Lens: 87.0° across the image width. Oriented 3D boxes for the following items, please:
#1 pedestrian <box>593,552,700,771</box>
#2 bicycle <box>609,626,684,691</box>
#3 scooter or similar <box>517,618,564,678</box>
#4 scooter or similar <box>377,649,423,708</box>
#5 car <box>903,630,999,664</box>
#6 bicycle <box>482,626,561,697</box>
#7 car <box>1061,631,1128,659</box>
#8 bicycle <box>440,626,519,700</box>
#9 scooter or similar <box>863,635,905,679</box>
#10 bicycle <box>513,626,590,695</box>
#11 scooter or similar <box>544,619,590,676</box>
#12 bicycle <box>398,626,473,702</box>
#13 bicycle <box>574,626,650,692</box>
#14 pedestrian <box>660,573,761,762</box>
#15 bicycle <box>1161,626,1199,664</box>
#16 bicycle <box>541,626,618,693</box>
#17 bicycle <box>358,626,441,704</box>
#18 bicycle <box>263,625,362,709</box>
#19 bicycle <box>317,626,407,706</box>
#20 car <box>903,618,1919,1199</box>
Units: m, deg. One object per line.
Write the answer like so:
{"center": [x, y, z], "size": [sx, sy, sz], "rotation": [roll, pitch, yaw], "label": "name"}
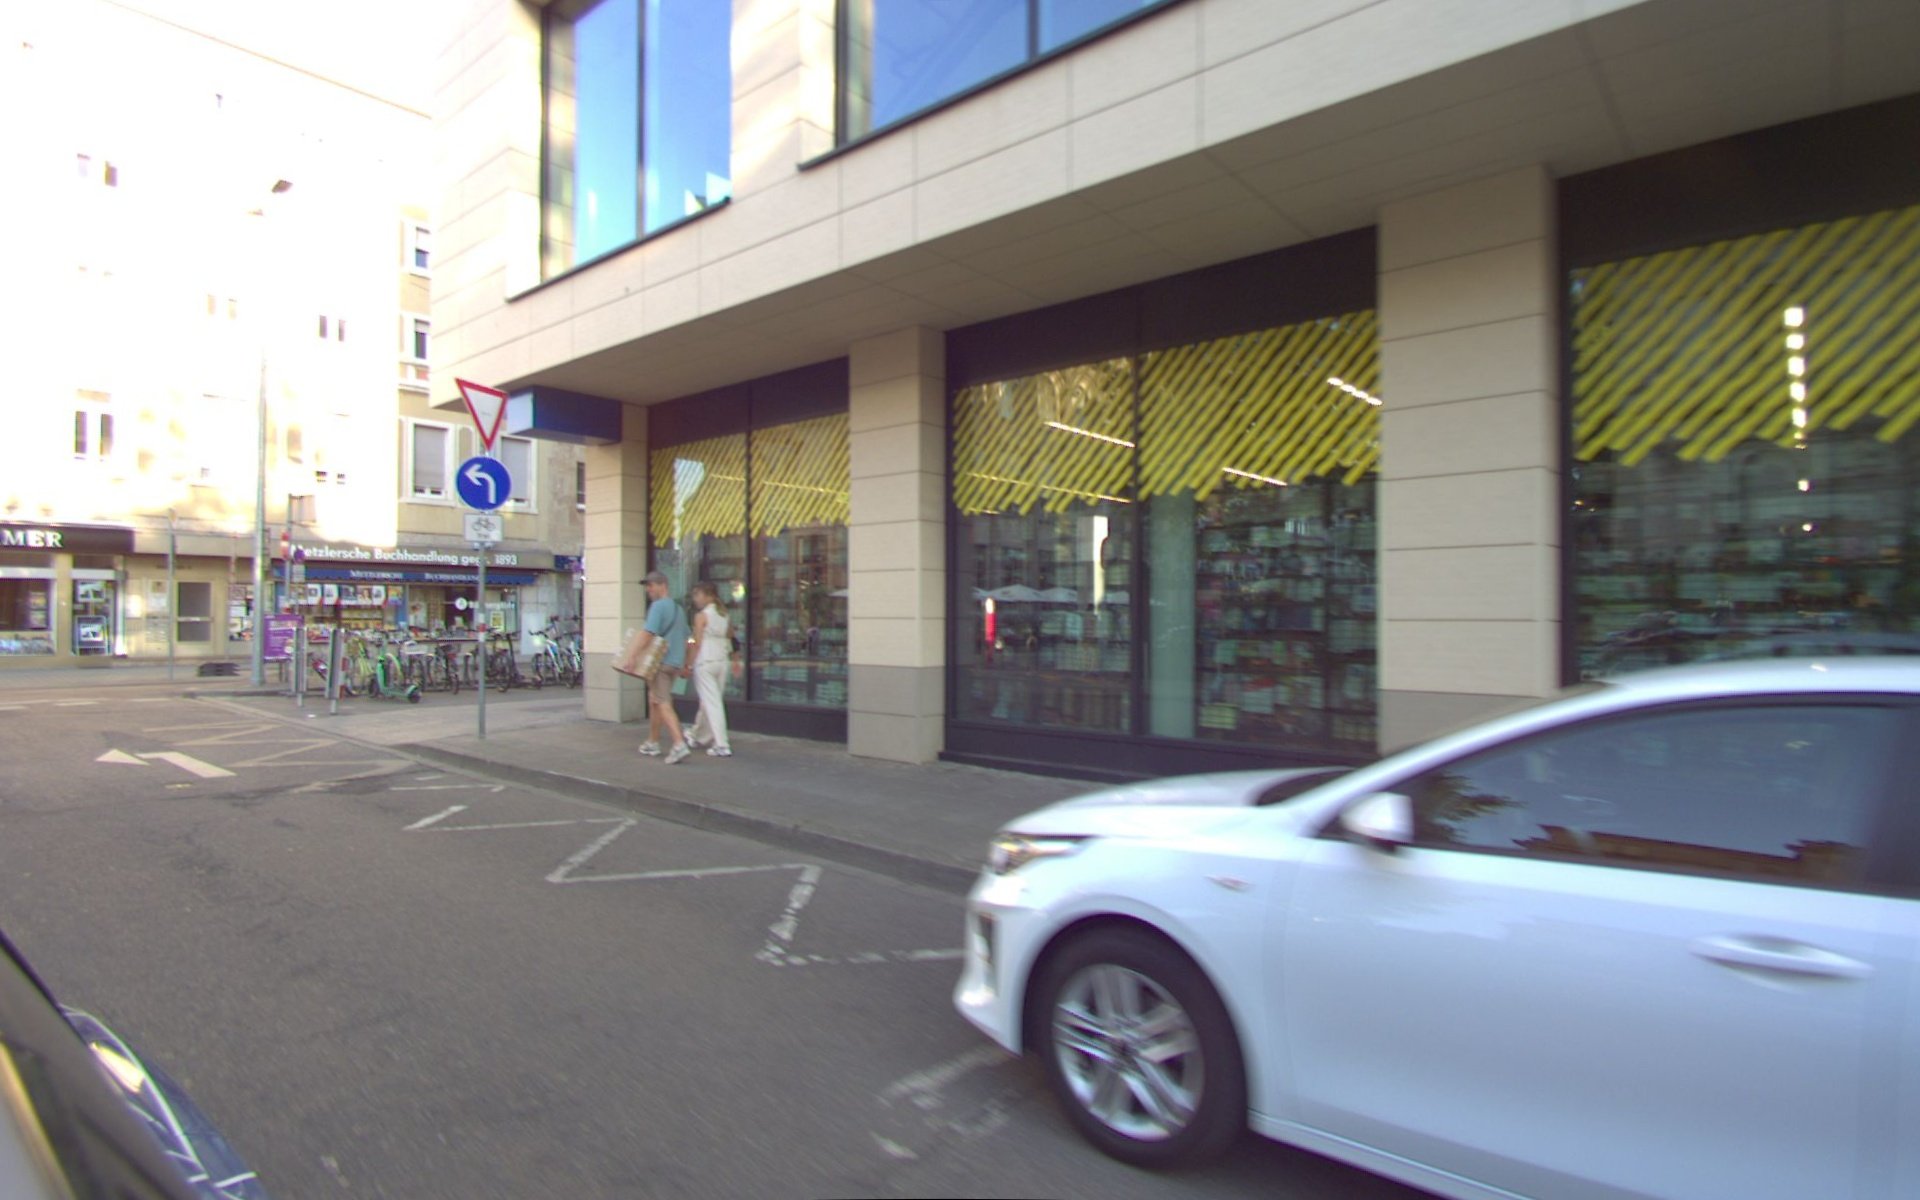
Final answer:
{"center": [-2.781, 0.525, 9.003], "size": [0.646, 1.850, 0.665], "rotation": [-1, -2, 38], "label": "pedestrian"}
{"center": [-6.598, 1.199, 21.246], "size": [1.977, 1.264, 0.506], "rotation": [0, -1, 40], "label": "bicycle"}
{"center": [-9.142, 1.033, 22.040], "size": [1.269, 1.270, 0.383], "rotation": [0, -1, 39], "label": "scooter or similar"}
{"center": [-8.995, 1.252, 16.243], "size": [0.769, 0.891, 0.383], "rotation": [0, -1, 39], "label": "scooter or similar"}
{"center": [-0.341, 2.052, 44.944], "size": [1.861, 1.402, 4.564], "rotation": [-1, -2, 37], "label": "car"}
{"center": [-8.362, 1.141, 19.247], "size": [1.976, 1.264, 0.507], "rotation": [0, -1, 38], "label": "bicycle"}
{"center": [7.185, 2.370, 53.841], "size": [1.861, 1.402, 3.949], "rotation": [-1, -2, 37], "label": "car"}
{"center": [-8.876, 1.133, 18.664], "size": [1.977, 1.264, 0.506], "rotation": [0, -1, 40], "label": "bicycle"}
{"center": [-2.320, 1.721, 30.795], "size": [0.516, 1.252, 1.253], "rotation": [0, -1, 43], "label": "scooter or similar"}
{"center": [-7.989, 1.148, 19.770], "size": [1.977, 1.264, 0.506], "rotation": [0, -1, 40], "label": "bicycle"}
{"center": [-8.725, 1.029, 22.445], "size": [1.269, 1.221, 0.383], "rotation": [0, -1, 39], "label": "scooter or similar"}
{"center": [-9.417, 1.116, 18.143], "size": [1.978, 1.264, 0.506], "rotation": [0, -1, 41], "label": "bicycle"}
{"center": [-7.138, 1.184, 20.715], "size": [1.977, 1.264, 0.506], "rotation": [0, -1, 40], "label": "bicycle"}
{"center": [-2.344, 0.611, 9.522], "size": [0.646, 1.687, 0.665], "rotation": [-1, -2, 38], "label": "pedestrian"}
{"center": [7.661, 1.553, 35.249], "size": [0.512, 1.264, 1.954], "rotation": [0, -1, 38], "label": "bicycle"}
{"center": [-7.608, 1.157, 20.186], "size": [1.977, 1.264, 0.506], "rotation": [0, -1, 40], "label": "bicycle"}
{"center": [-9.789, 1.109, 17.651], "size": [1.976, 1.264, 0.507], "rotation": [0, -1, 37], "label": "bicycle"}
{"center": [-10.566, 1.051, 16.492], "size": [2.137, 1.264, 0.657], "rotation": [0, -1, 37], "label": "bicycle"}
{"center": [-10.138, 1.084, 17.122], "size": [2.041, 1.264, 0.575], "rotation": [0, -1, 37], "label": "bicycle"}
{"center": [1.998, 0.778, 2.488], "size": [4.227, 1.464, 1.760], "rotation": [-1, -2, 40], "label": "car"}
